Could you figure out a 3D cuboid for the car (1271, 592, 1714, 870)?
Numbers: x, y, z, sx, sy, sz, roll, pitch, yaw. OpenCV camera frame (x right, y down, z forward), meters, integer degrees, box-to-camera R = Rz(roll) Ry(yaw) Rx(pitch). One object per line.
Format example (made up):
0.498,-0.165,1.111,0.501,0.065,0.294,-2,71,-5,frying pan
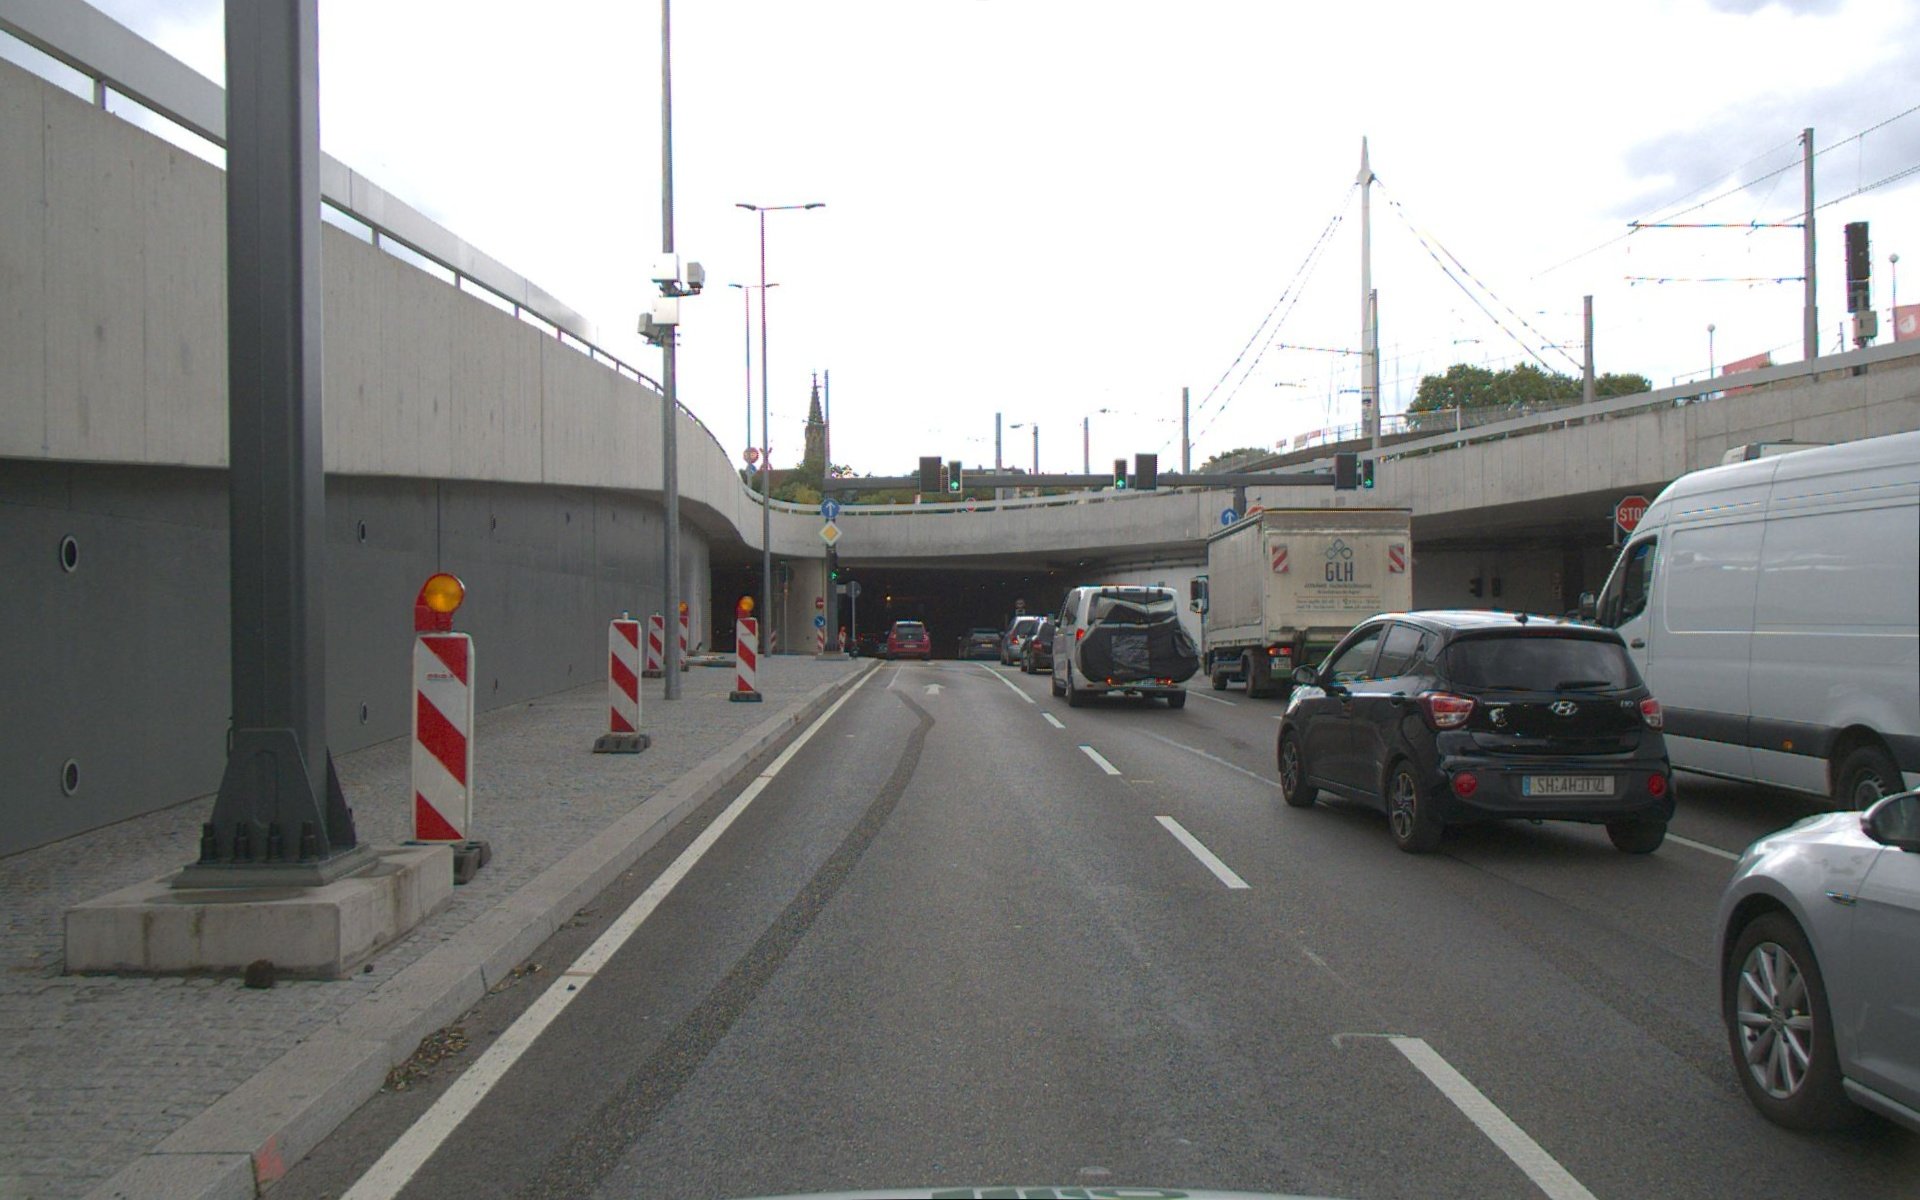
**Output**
3.435,0.755,11.410,1.649,1.572,3.690,1,0,-4,car

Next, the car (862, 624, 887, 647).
-7.061,2.942,136.190,1.955,1.804,3.996,0,0,-5,car

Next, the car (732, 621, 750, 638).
-21.894,2.938,165.258,1.774,1.632,4.778,-1,0,-8,car

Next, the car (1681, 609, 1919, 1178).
3.307,0.770,3.540,1.727,1.407,4.038,0,1,-1,car

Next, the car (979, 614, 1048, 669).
1.692,1.316,53.625,1.783,1.608,3.997,3,-1,-4,car

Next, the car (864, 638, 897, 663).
-4.289,2.731,89.342,1.480,1.269,3.560,0,-2,-8,car

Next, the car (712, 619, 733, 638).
-19.078,2.274,132.955,1.633,1.466,4.106,0,-1,-7,car

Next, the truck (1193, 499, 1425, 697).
6.300,0.015,31.061,2.596,3.241,7.423,-1,-1,-1,truck

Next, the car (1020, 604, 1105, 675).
2.588,0.981,42.647,1.782,1.713,3.998,1,0,-2,car

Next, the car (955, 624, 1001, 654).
0.776,1.745,73.276,1.632,1.269,3.562,0,-2,-6,car

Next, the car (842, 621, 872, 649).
-7.749,2.608,124.235,1.956,2.049,3.993,0,0,-8,car

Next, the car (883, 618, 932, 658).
-2.123,1.527,65.908,1.629,1.514,3.560,0,-2,-8,car

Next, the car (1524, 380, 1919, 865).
6.535,0.124,12.259,2.033,2.822,7.324,0,0,-2,car

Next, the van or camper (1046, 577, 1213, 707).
2.631,0.712,26.958,1.953,1.878,5.504,1,-2,-2,van or camper
